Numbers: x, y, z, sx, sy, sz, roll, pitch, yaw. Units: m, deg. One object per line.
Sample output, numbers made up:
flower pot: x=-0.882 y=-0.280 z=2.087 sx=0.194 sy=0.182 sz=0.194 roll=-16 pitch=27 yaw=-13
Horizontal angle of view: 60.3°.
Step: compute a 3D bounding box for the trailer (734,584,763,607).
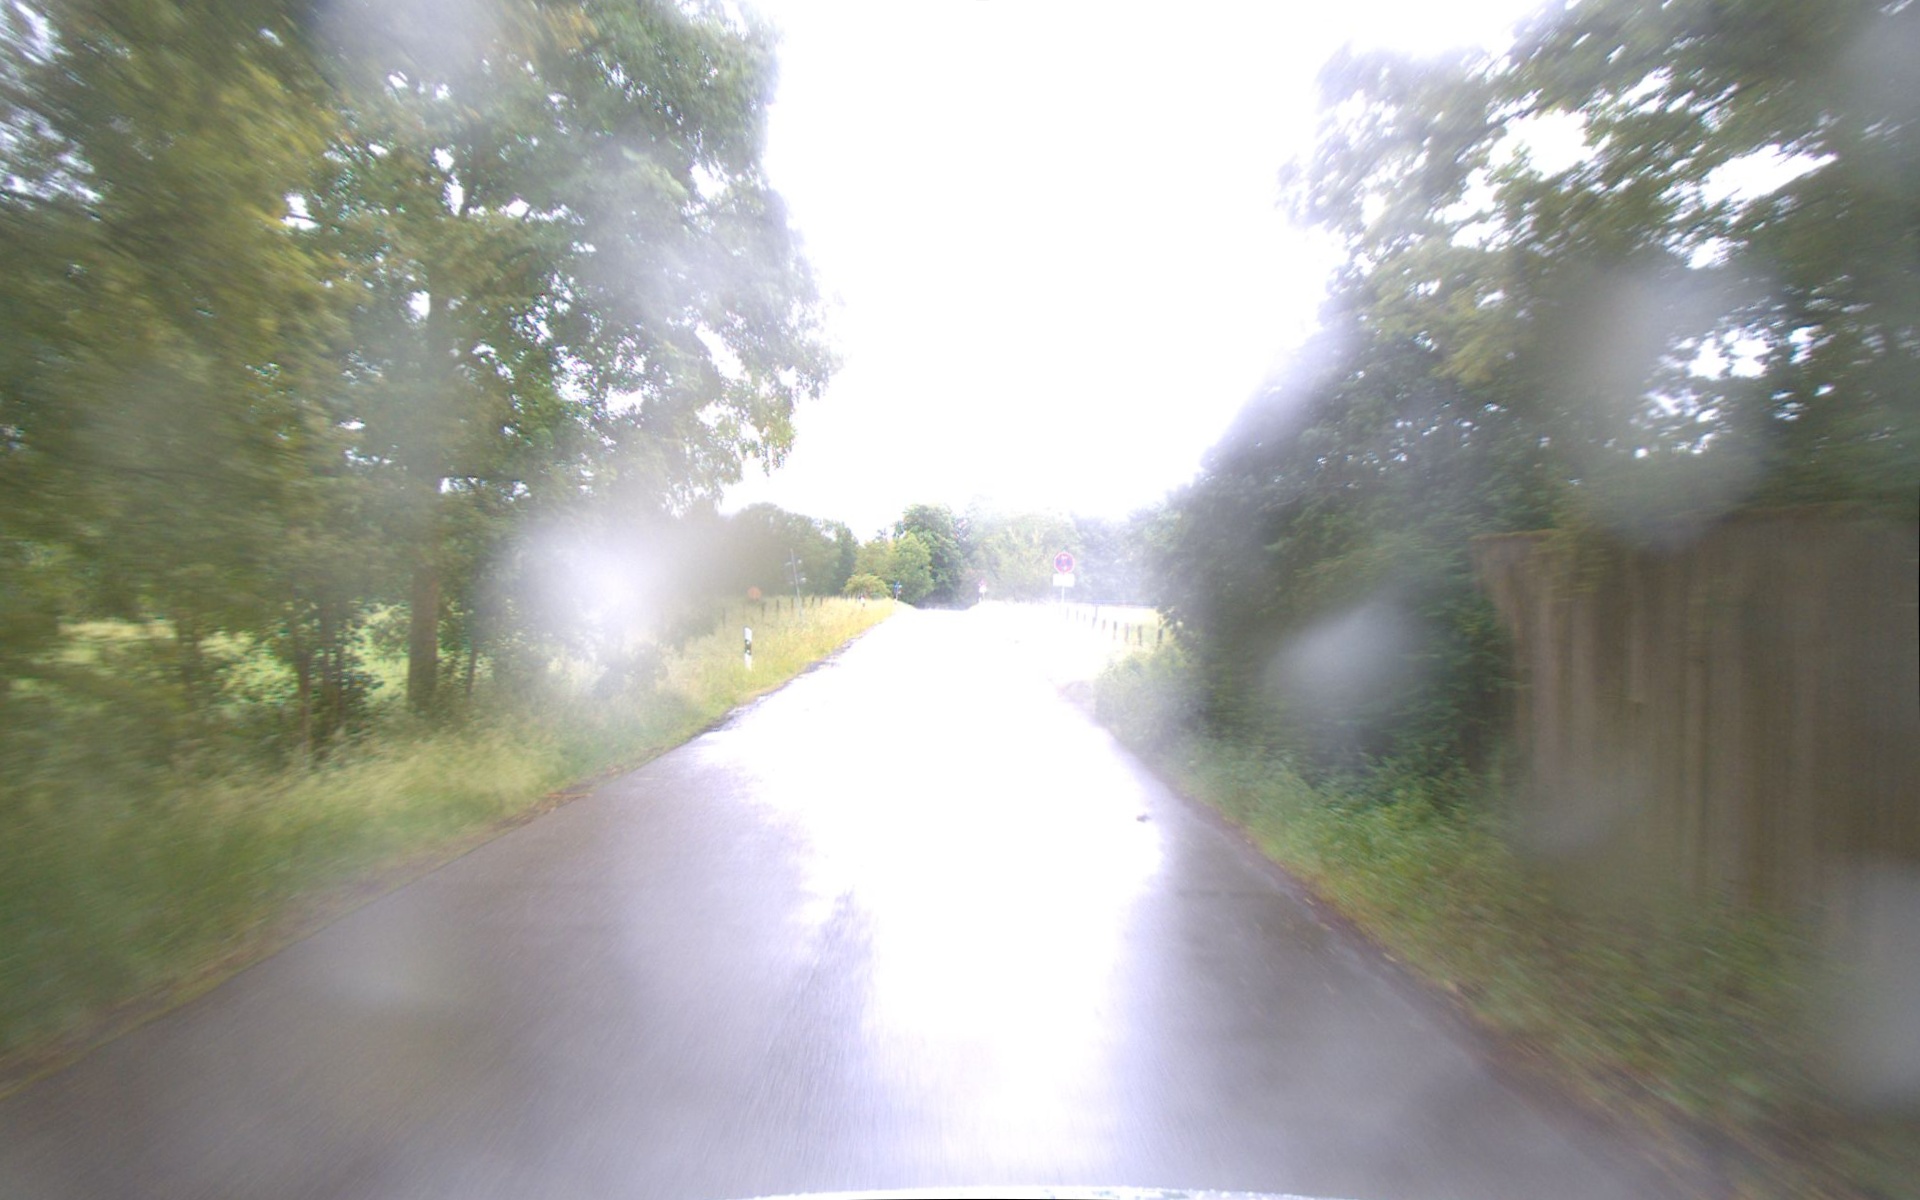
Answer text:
trailer: x=-14.096 y=-0.312 z=110.244 sx=1.720 sy=1.531 sz=3.082 roll=1 pitch=0 yaw=-11
